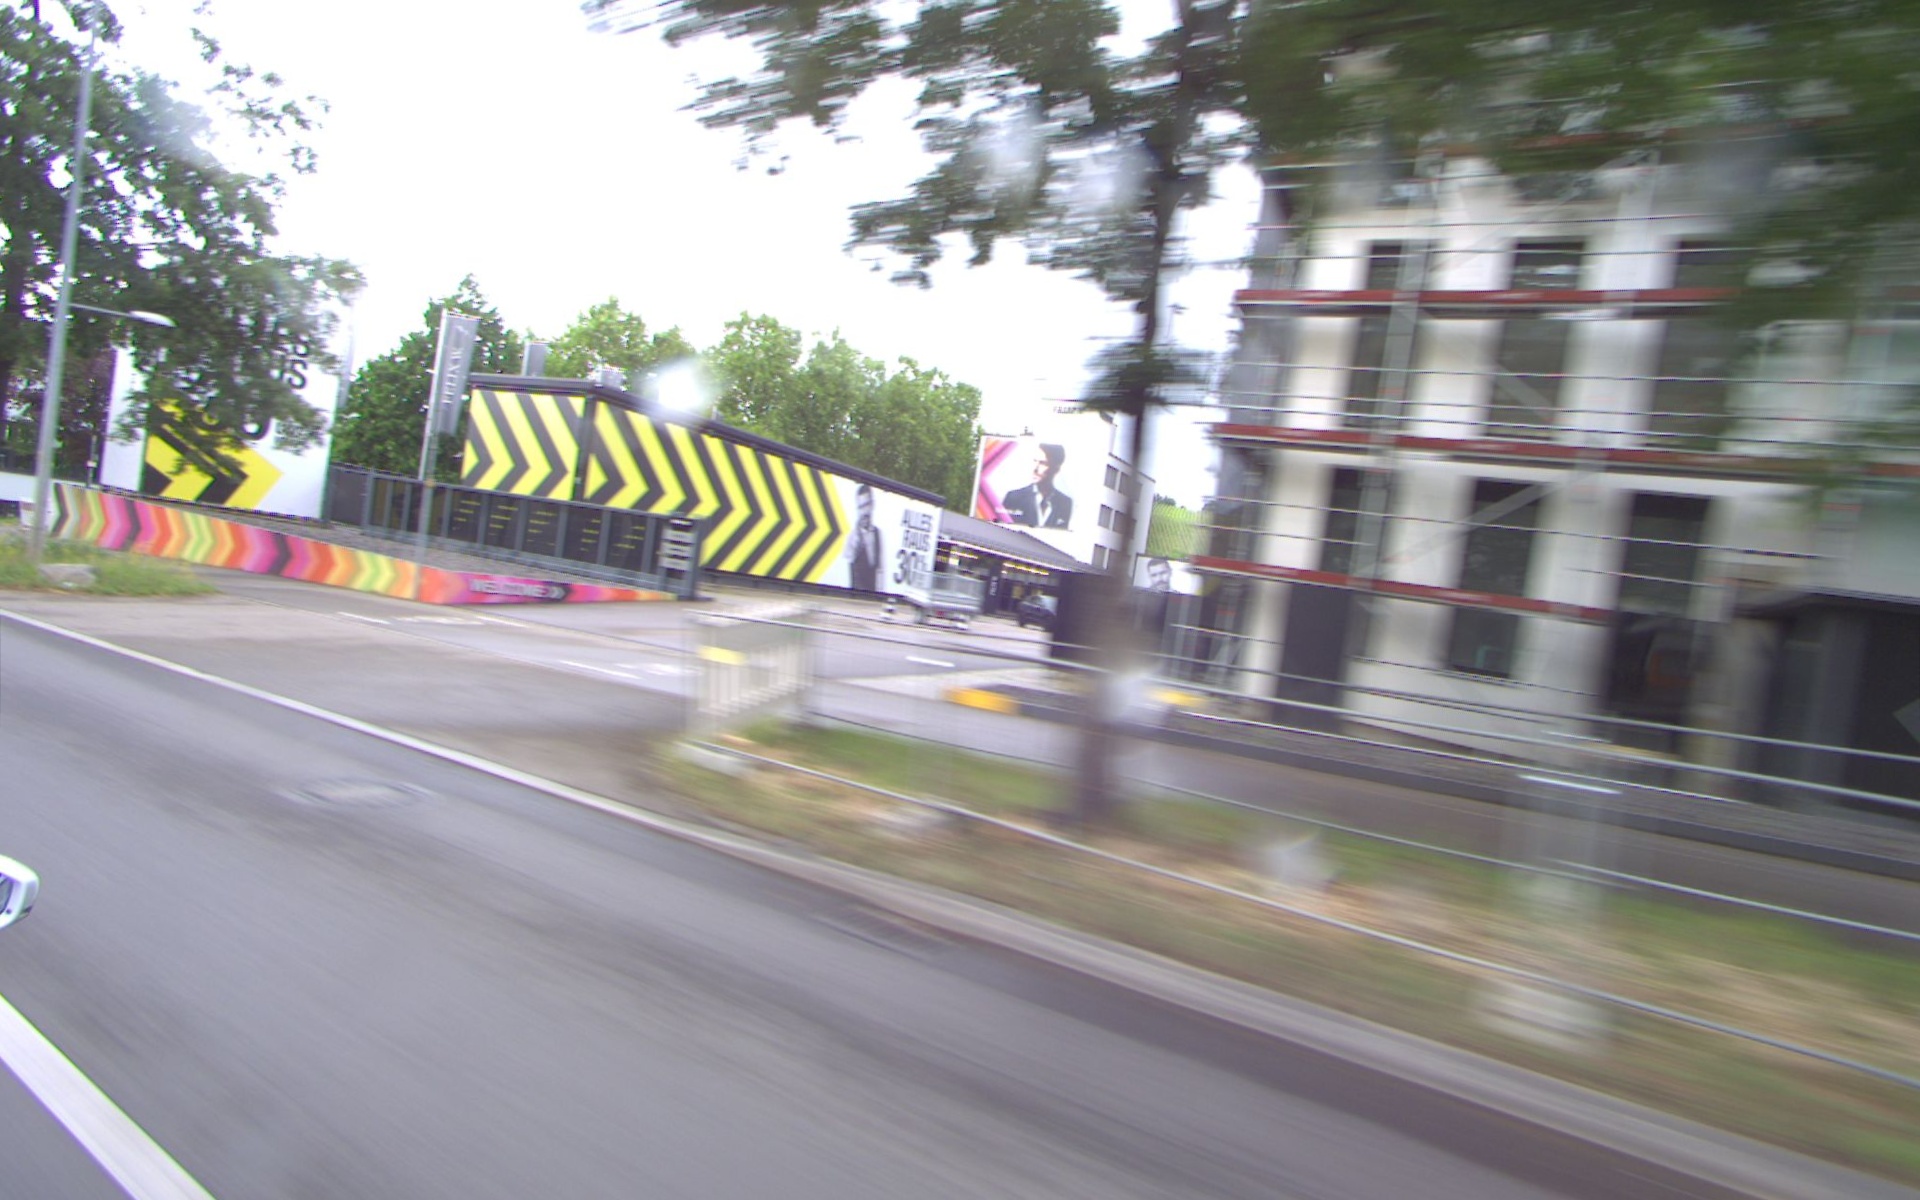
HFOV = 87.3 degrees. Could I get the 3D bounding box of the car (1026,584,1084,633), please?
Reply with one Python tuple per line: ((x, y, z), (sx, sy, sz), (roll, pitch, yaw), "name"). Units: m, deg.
((4.330, 0.447, 46.378), (1.964, 1.925, 4.002), (8, -2, -2), "car")
